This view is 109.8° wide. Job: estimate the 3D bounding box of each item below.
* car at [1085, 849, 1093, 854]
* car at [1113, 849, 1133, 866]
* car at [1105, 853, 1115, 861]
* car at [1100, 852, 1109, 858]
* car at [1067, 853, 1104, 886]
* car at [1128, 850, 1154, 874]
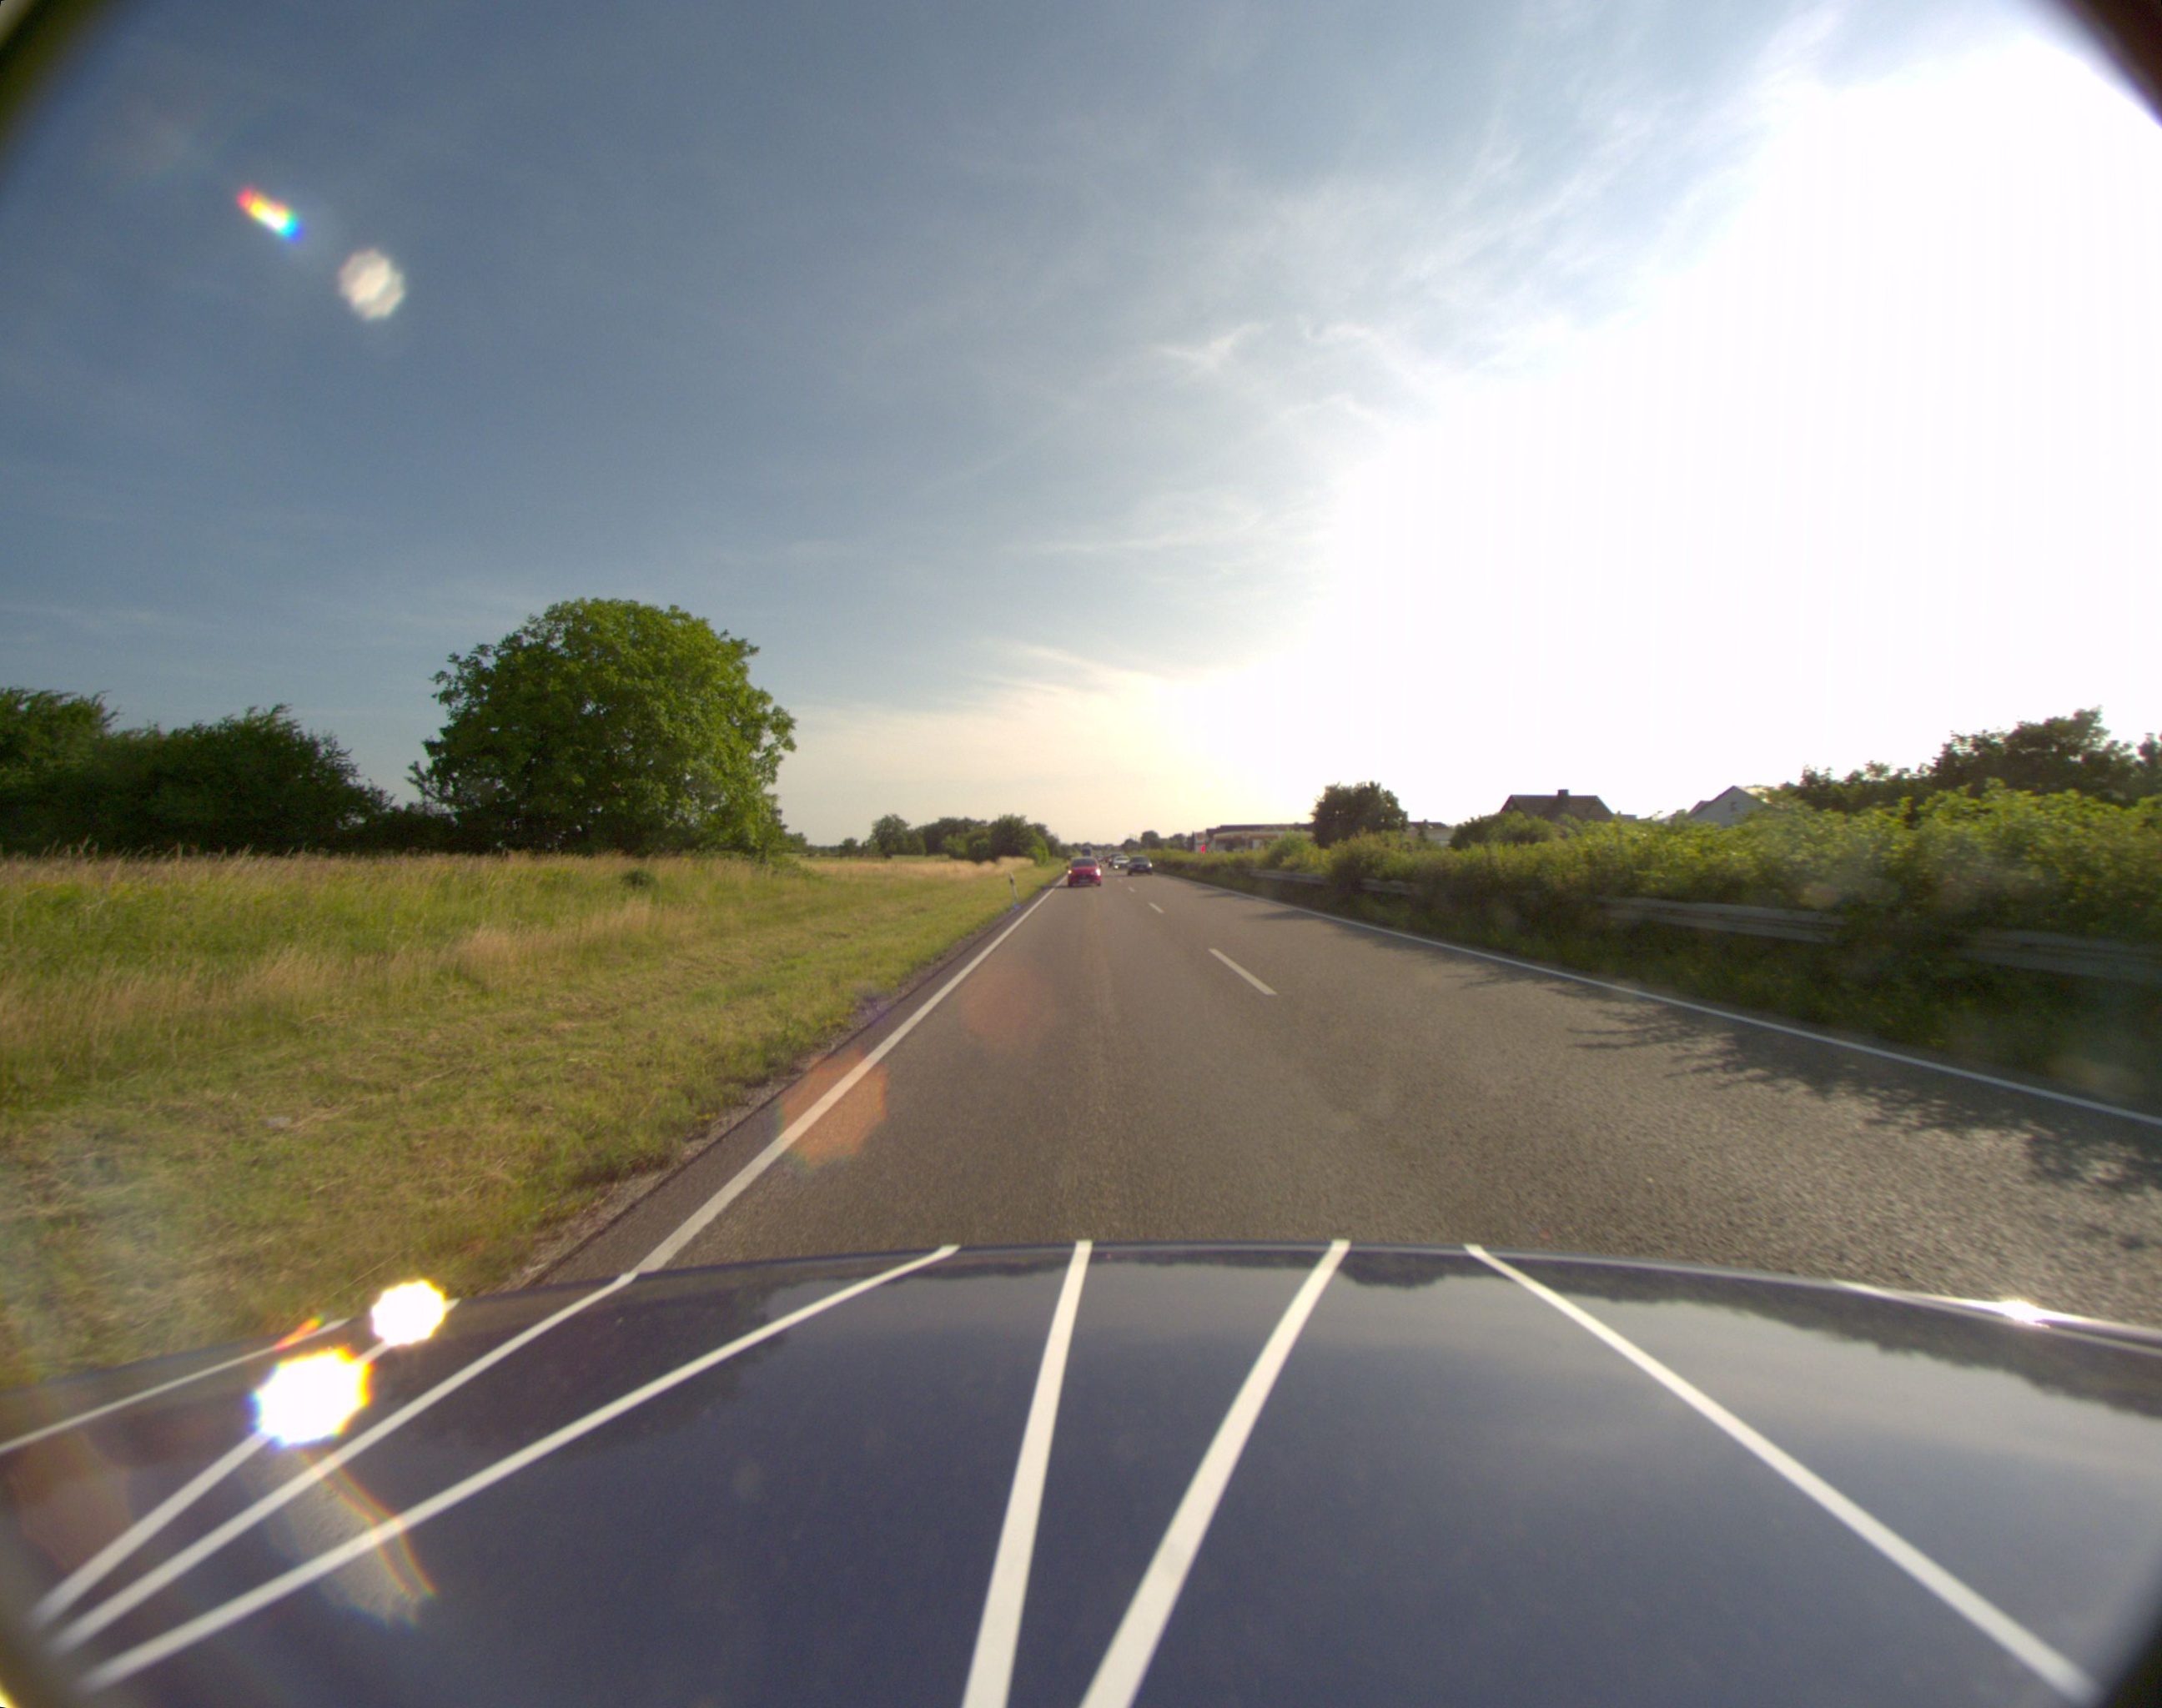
[{"bbox_3d":[2.284,-0.790,217.121,1.998,1.412,4.000,-2,1,2],"label":"car"},{"bbox_3d":[4.496,0.329,82.174,1.998,1.762,4.000,-2,1,2],"label":"car"},{"bbox_3d":[5.901,0.613,154.770,1.998,1.412,4.000,-2,1,2],"label":"car"},{"bbox_3d":[5.698,0.147,183.267,1.998,1.412,4.000,-2,1,2],"label":"car"},{"bbox_3d":[0.288,0.780,39.827,1.821,1.565,4.000,-2,1,2],"label":"car"},{"bbox_3d":[4.485,0.597,57.154,1.693,1.695,4.000,-2,1,1],"label":"car"}]
